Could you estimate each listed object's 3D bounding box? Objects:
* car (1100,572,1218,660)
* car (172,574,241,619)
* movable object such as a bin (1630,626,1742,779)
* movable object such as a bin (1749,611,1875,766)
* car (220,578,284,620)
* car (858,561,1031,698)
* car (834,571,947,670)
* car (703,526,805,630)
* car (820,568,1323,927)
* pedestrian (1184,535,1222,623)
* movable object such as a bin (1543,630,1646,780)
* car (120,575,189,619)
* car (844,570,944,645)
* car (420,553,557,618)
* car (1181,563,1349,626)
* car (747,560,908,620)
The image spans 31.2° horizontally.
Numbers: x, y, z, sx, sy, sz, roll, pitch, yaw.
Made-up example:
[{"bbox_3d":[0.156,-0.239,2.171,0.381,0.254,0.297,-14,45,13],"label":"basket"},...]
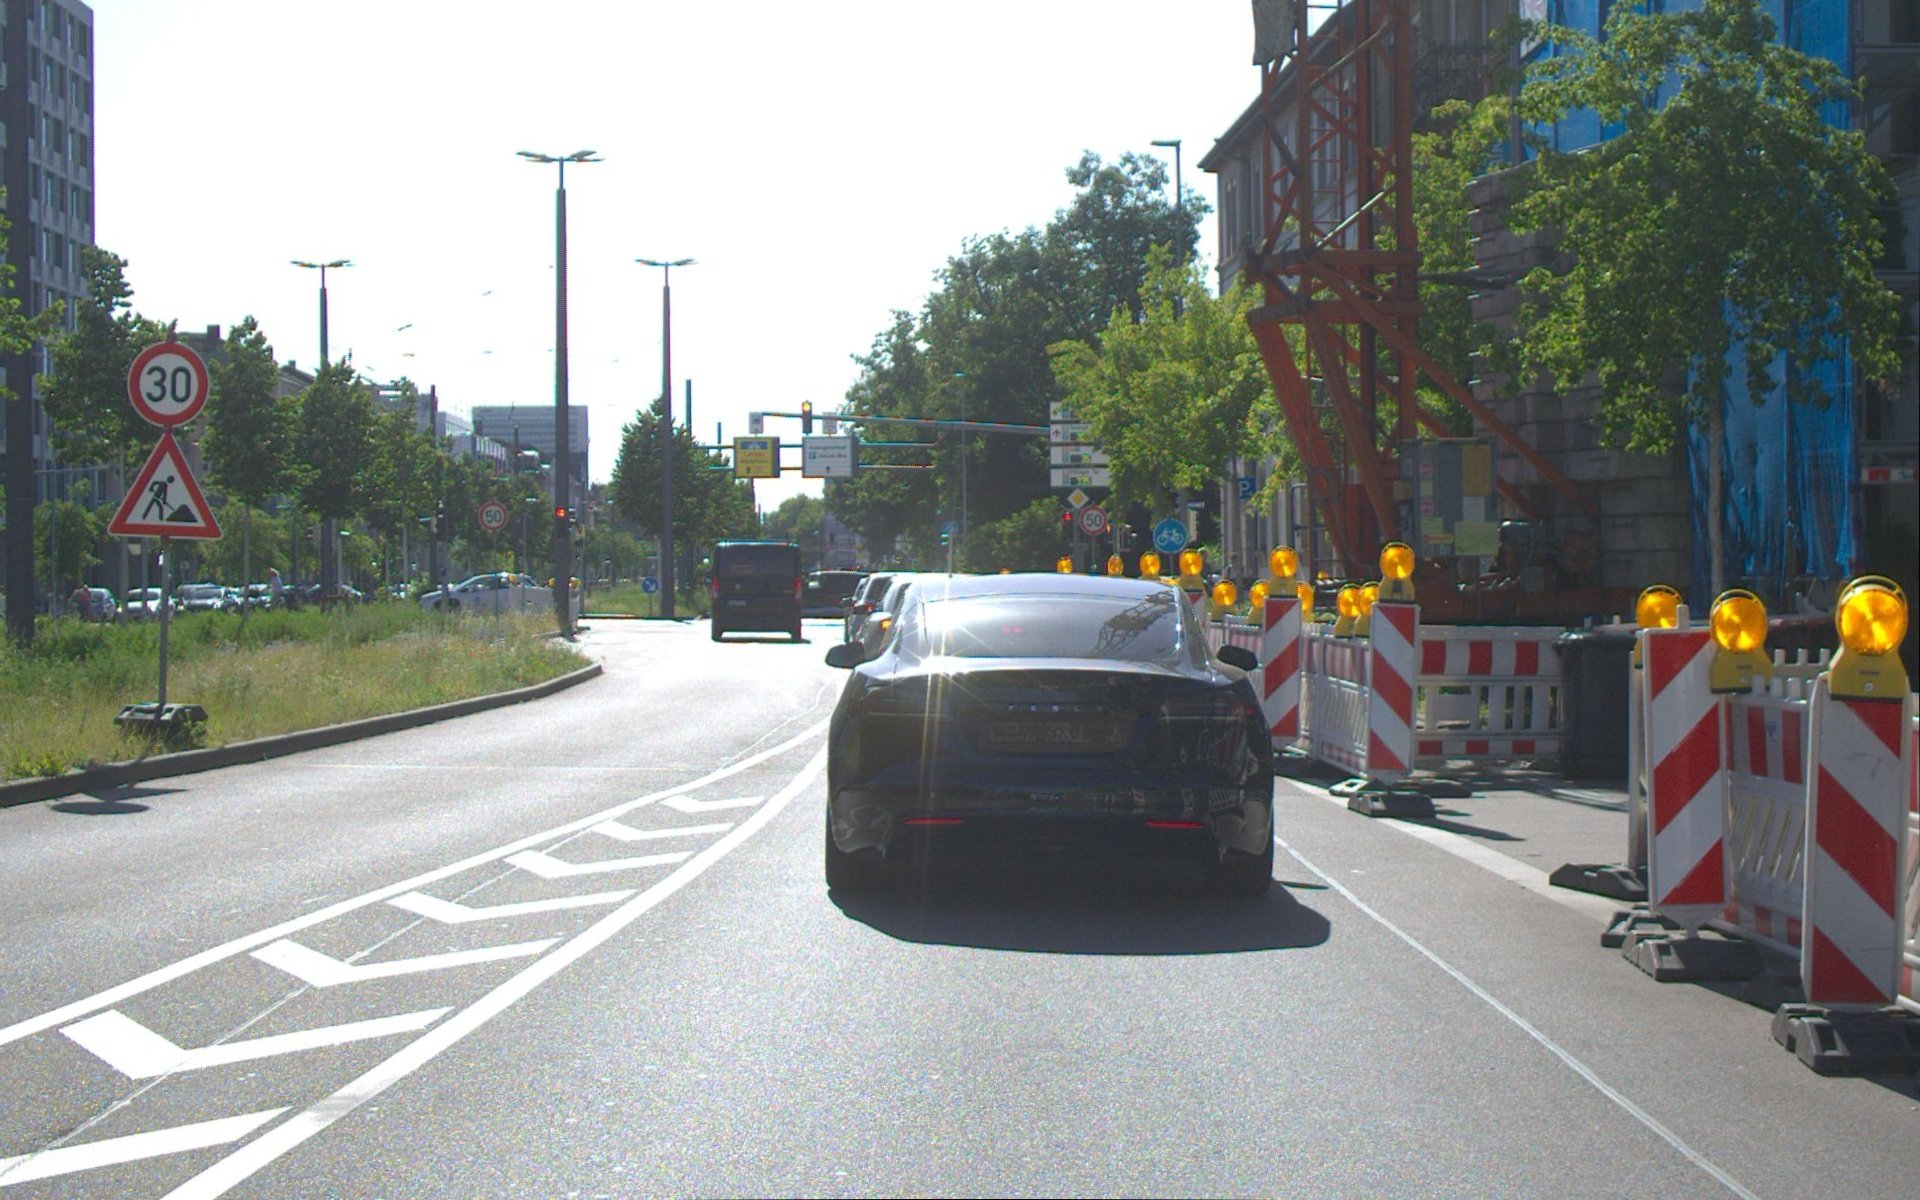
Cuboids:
[{"bbox_3d":[3.628,0.268,63.387,1.647,1.470,4.701,-3,1,-2],"label":"car"},{"bbox_3d":[-28.361,-0.136,129.531,1.790,1.645,4.000,-1,0,-2],"label":"car"},{"bbox_3d":[5.328,0.745,25.260,0.595,1.054,0.730,-4,1,-1],"label":"movable object such as a bin"},{"bbox_3d":[6.244,0.641,25.220,0.587,1.054,0.783,-5,1,-6],"label":"movable object such as a bin"},{"bbox_3d":[-28.329,-0.057,137.631,1.790,1.645,4.000,-1,0,-2],"label":"car"},{"bbox_3d":[-0.231,0.281,38.534,1.747,1.422,4.839,0,1,-2],"label":"car"},{"bbox_3d":[-1.148,0.308,56.095,1.749,1.522,4.005,1,1,-2],"label":"car"},{"bbox_3d":[-4.683,-0.529,78.252,2.218,2.259,4.485,1,1,-3],"label":"car"},{"bbox_3d":[0.373,0.590,16.480,2.051,1.439,4.525,1,1,-2],"label":"car"},{"bbox_3d":[5.409,-0.463,76.522,0.658,1.906,0.587,-3,1,-2],"label":"pedestrian"},{"bbox_3d":[4.626,0.760,25.084,0.587,1.054,0.730,1,1,-1],"label":"movable object such as a bin"},{"bbox_3d":[-30.863,-0.143,131.752,1.790,1.645,4.000,-1,0,-2],"label":"car"},{"bbox_3d":[-1.344,0.141,68.569,1.791,1.423,3.850,1,0,-4],"label":"car"},{"bbox_3d":[-14.131,-0.442,102.961,3.972,1.912,1.916,0,1,-11],"label":"car"},{"bbox_3d":[8.942,-0.157,100.786,4.517,1.786,1.998,0,1,21],"label":"car"},{"bbox_3d":[-4.004,-0.303,104.278,4.514,1.786,1.999,0,1,13],"label":"car"}]
